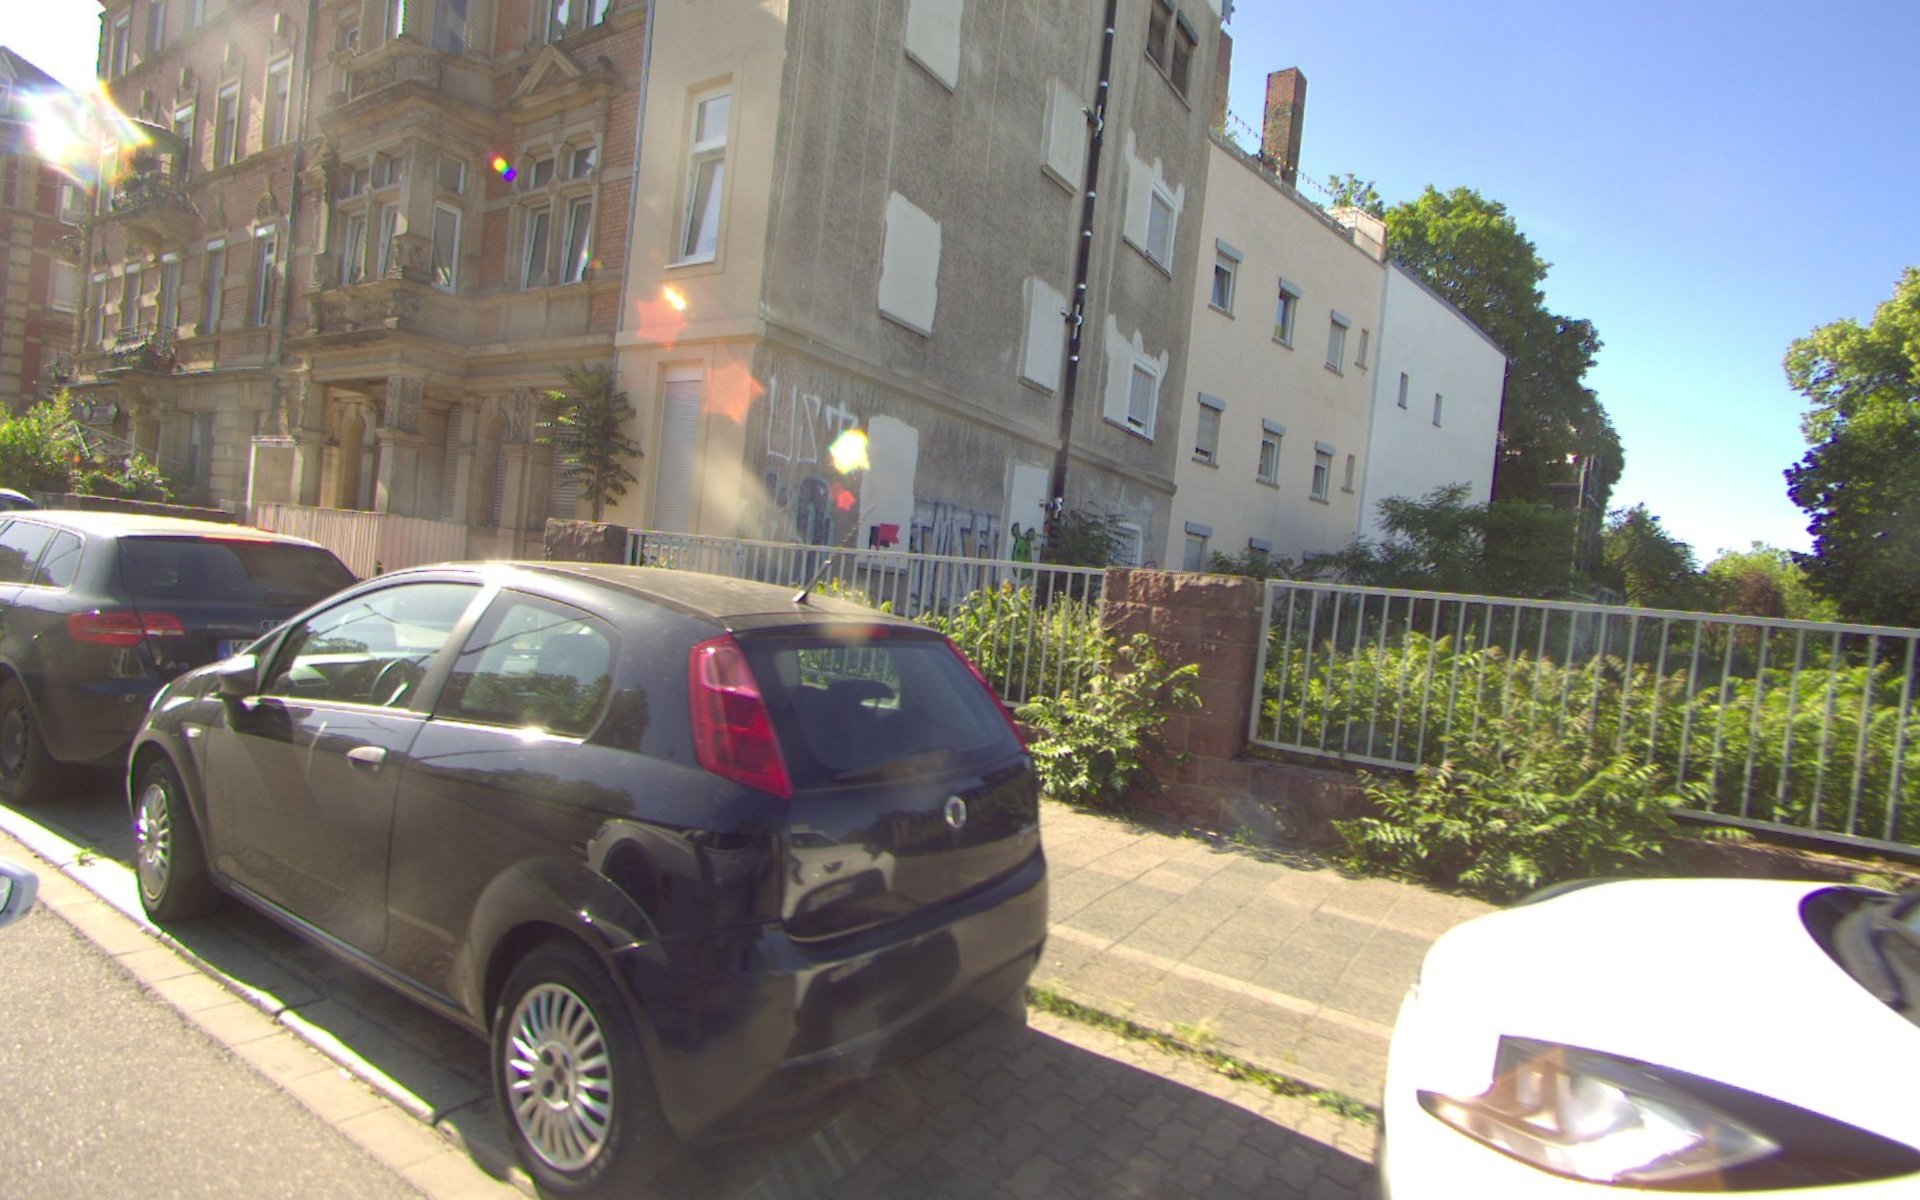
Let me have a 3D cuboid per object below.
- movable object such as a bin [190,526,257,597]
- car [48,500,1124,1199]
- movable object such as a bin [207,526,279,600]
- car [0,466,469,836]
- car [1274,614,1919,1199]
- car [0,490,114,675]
[{"bbox_3d":[-12.965,-0.671,17.727,0.599,1.170,0.722,3,-2,34],"label":"movable object such as a bin"},{"bbox_3d":[-1.517,0.541,3.669,3.712,1.411,1.669,7,1,32],"label":"car"},{"bbox_3d":[-12.241,-0.621,17.181,0.599,1.170,0.759,3,-2,34],"label":"movable object such as a bin"},{"bbox_3d":[-5.283,0.058,6.179,4.409,1.538,1.936,7,1,32],"label":"car"},{"bbox_3d":[2.442,1.008,1.354,3.599,1.538,1.670,7,1,30],"label":"car"},{"bbox_3d":[-9.263,-0.301,8.988,3.244,1.489,1.623,7,1,32],"label":"car"}]
